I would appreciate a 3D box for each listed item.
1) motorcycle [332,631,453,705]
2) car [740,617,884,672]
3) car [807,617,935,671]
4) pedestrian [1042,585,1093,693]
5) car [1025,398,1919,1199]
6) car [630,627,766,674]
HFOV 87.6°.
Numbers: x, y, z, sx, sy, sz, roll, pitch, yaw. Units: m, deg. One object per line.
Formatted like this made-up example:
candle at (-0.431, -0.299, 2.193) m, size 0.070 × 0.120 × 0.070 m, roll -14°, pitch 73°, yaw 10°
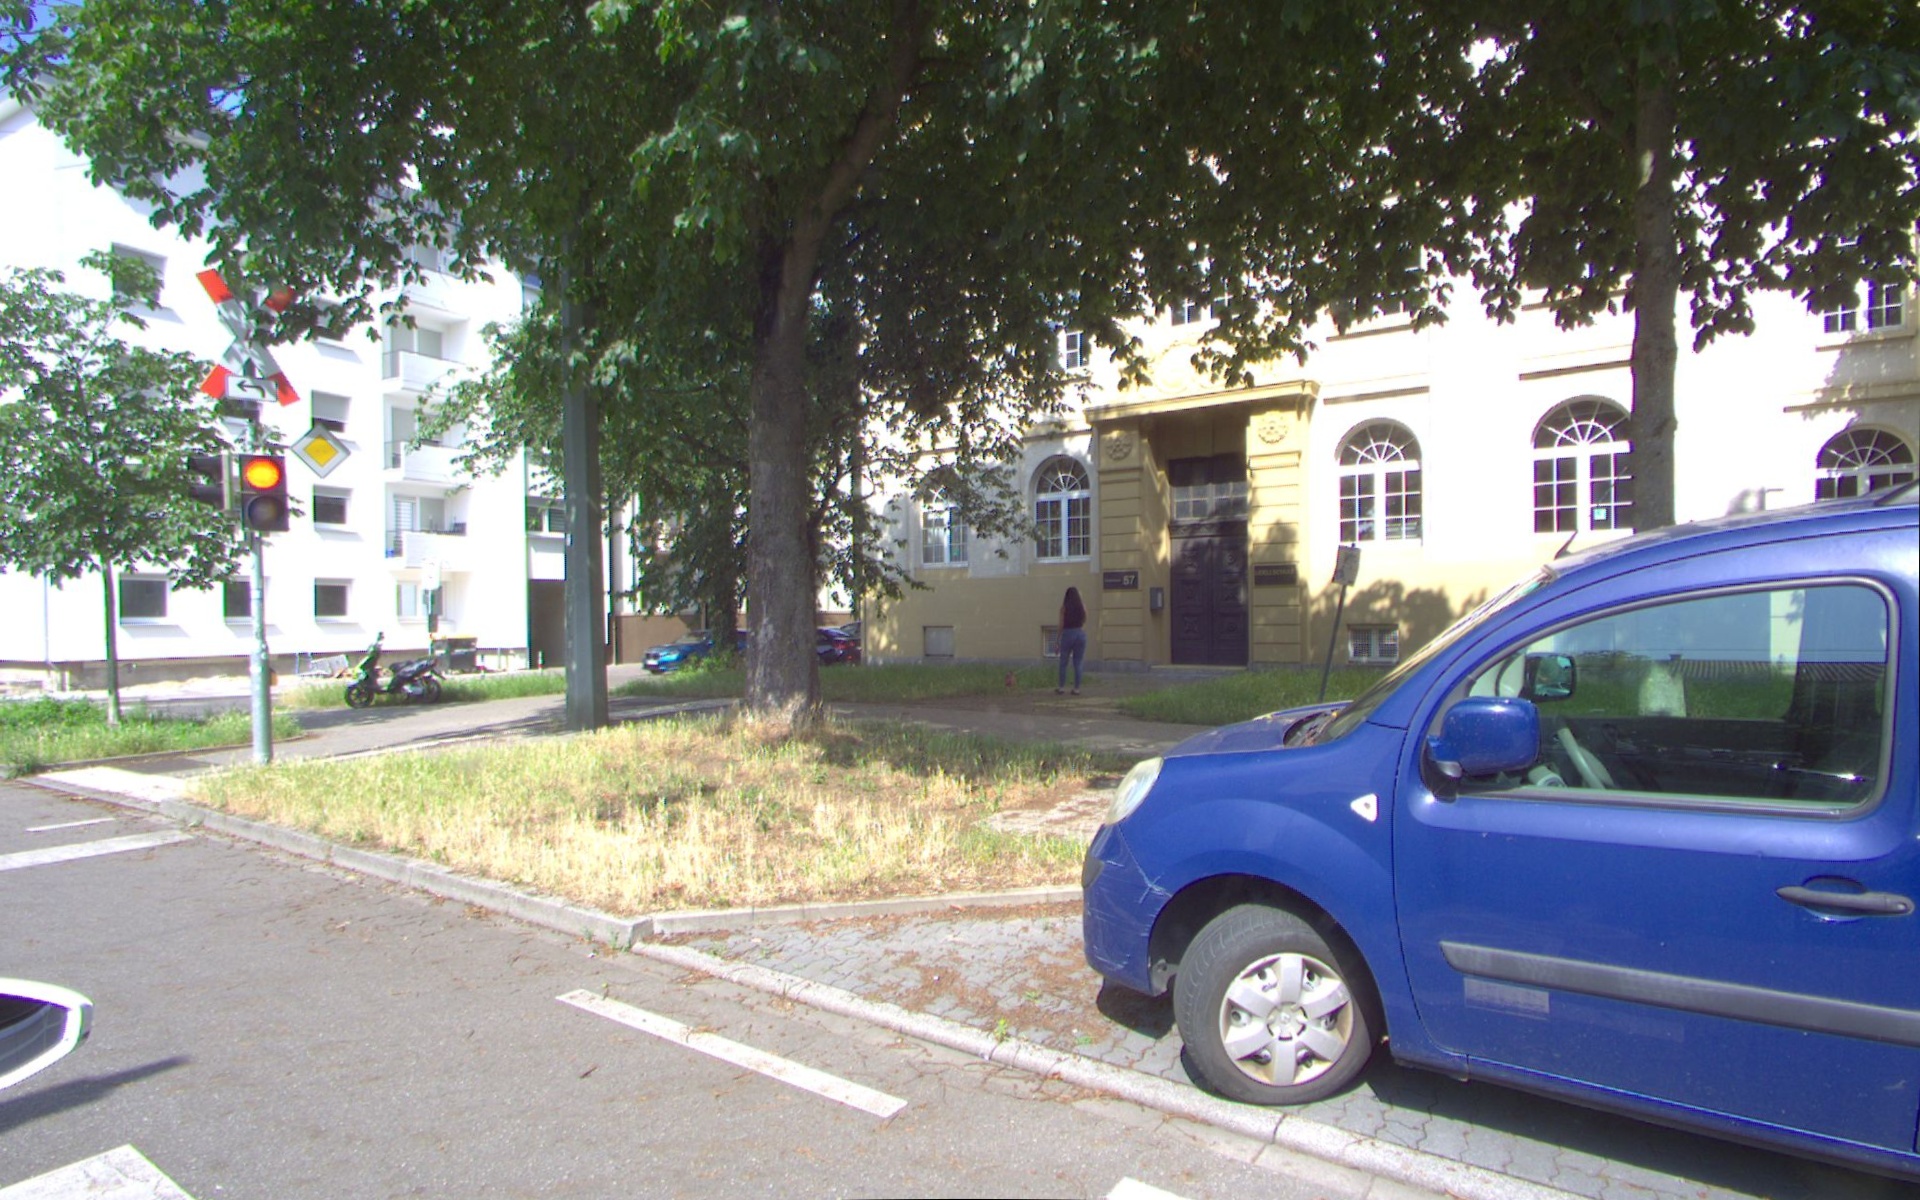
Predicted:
motorcycle at (-10.391, 1.238, 18.358) m, size 1.811 × 1.233 × 0.571 m, roll -2°, pitch 4°, yaw 0°
car at (-4.297, 1.256, 28.941) m, size 3.942 × 1.478 × 1.736 m, roll -1°, pitch 0°, yaw 32°
car at (-2.822, 1.323, 31.335) m, size 3.955 × 1.560 × 1.797 m, roll -1°, pitch -1°, yaw 42°
pedestrian at (1.657, 0.597, 15.380) m, size 0.532 × 1.617 × 0.630 m, roll -1°, pitch 0°, yaw 31°
car at (2.415, 0.537, 2.840) m, size 4.128 × 1.921 × 1.816 m, roll 0°, pitch 1°, yaw 36°
car at (-8.535, 1.645, 32.893) m, size 1.757 × 1.430 × 4.154 m, roll -2°, pitch -3°, yaw 36°
